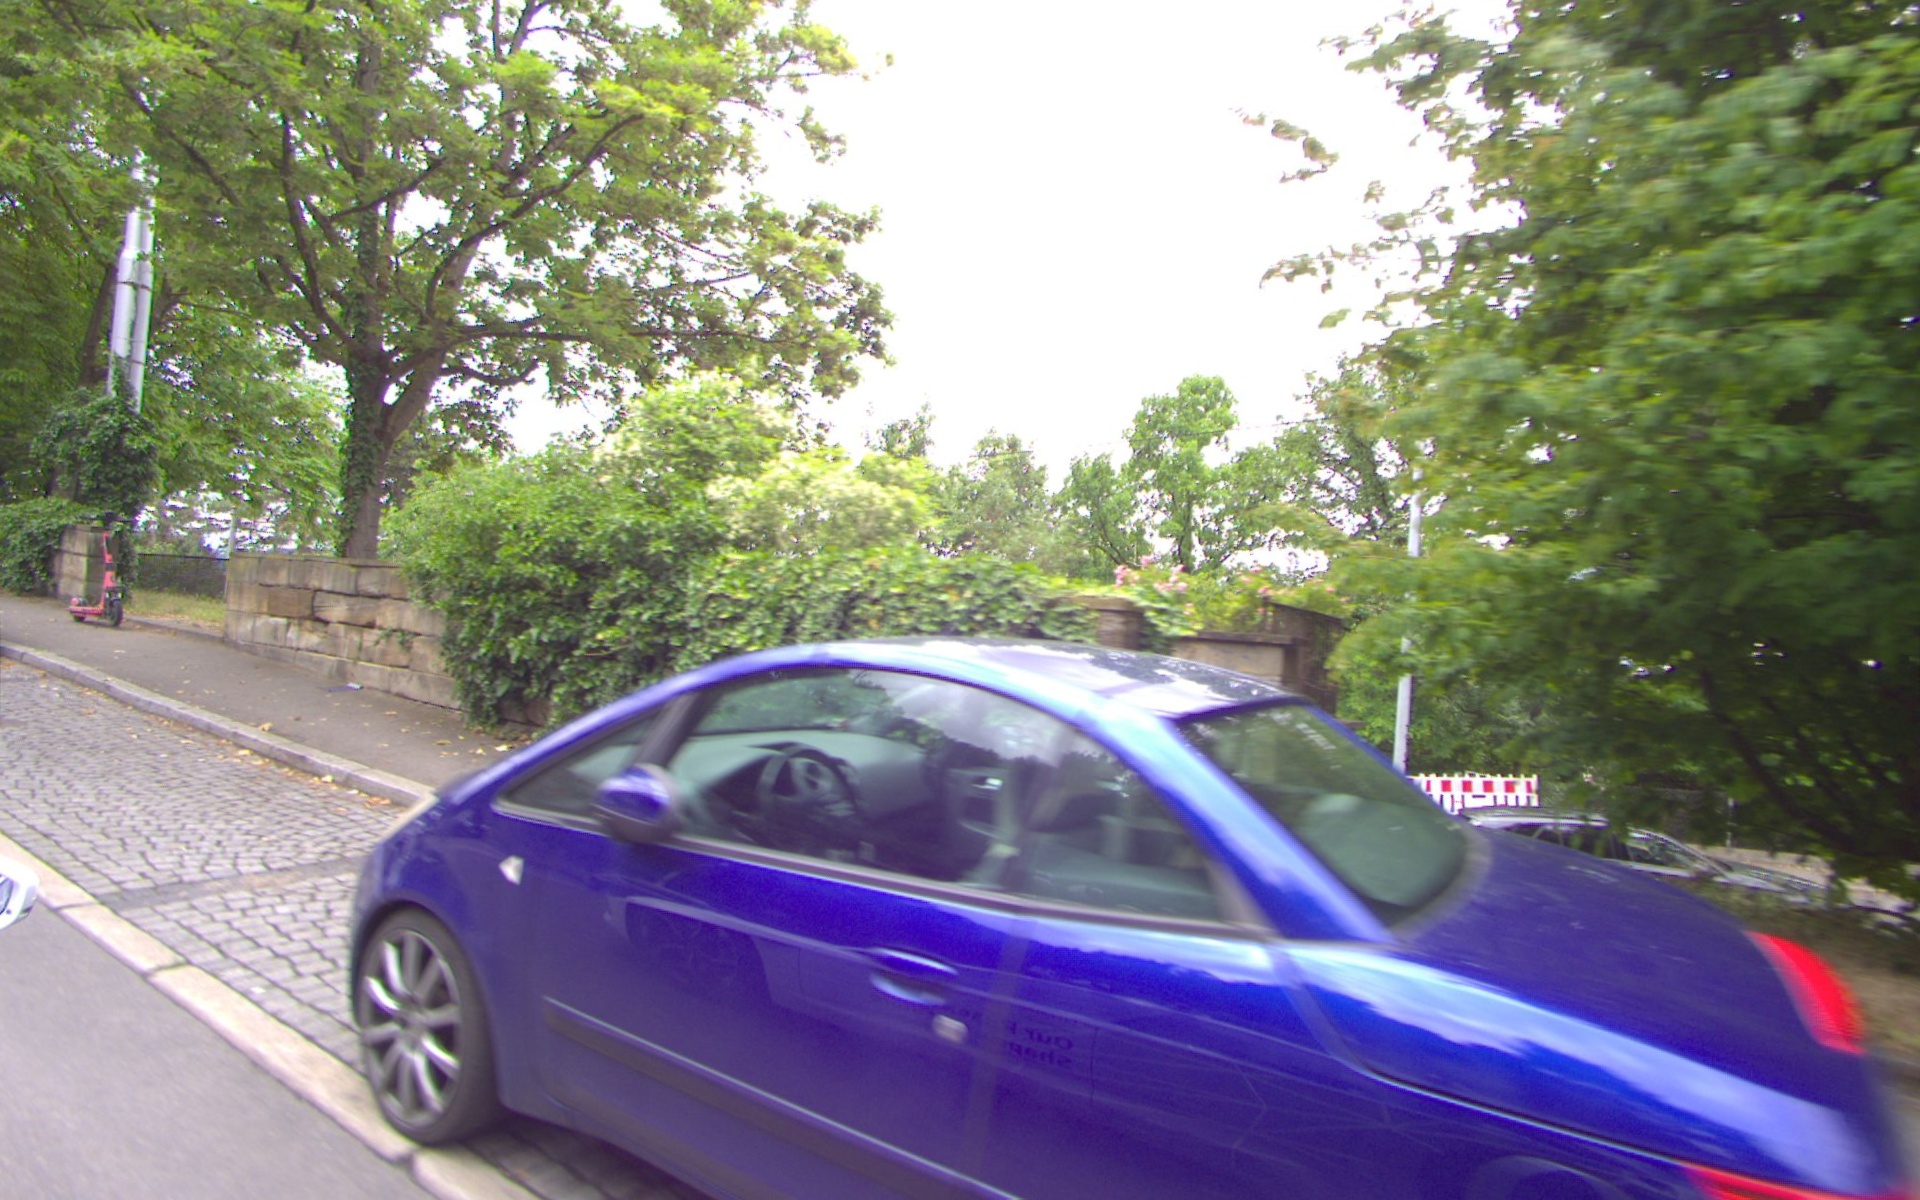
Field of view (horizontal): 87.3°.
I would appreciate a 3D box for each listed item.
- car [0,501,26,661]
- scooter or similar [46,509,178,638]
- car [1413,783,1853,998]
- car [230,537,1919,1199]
[{"bbox_3d":[-10.768,-0.414,9.352,4.474,1.416,1.772,6,0,30],"label":"car"},{"bbox_3d":[-9.508,-0.322,11.252,1.967,1.262,0.560,6,5,32],"label":"scooter or similar"},{"bbox_3d":[8.659,3.712,13.517,4.445,1.573,2.001,6,-2,22],"label":"car"},{"bbox_3d":[-0.069,0.767,2.659,3.877,1.478,1.599,6,0,32],"label":"car"}]
